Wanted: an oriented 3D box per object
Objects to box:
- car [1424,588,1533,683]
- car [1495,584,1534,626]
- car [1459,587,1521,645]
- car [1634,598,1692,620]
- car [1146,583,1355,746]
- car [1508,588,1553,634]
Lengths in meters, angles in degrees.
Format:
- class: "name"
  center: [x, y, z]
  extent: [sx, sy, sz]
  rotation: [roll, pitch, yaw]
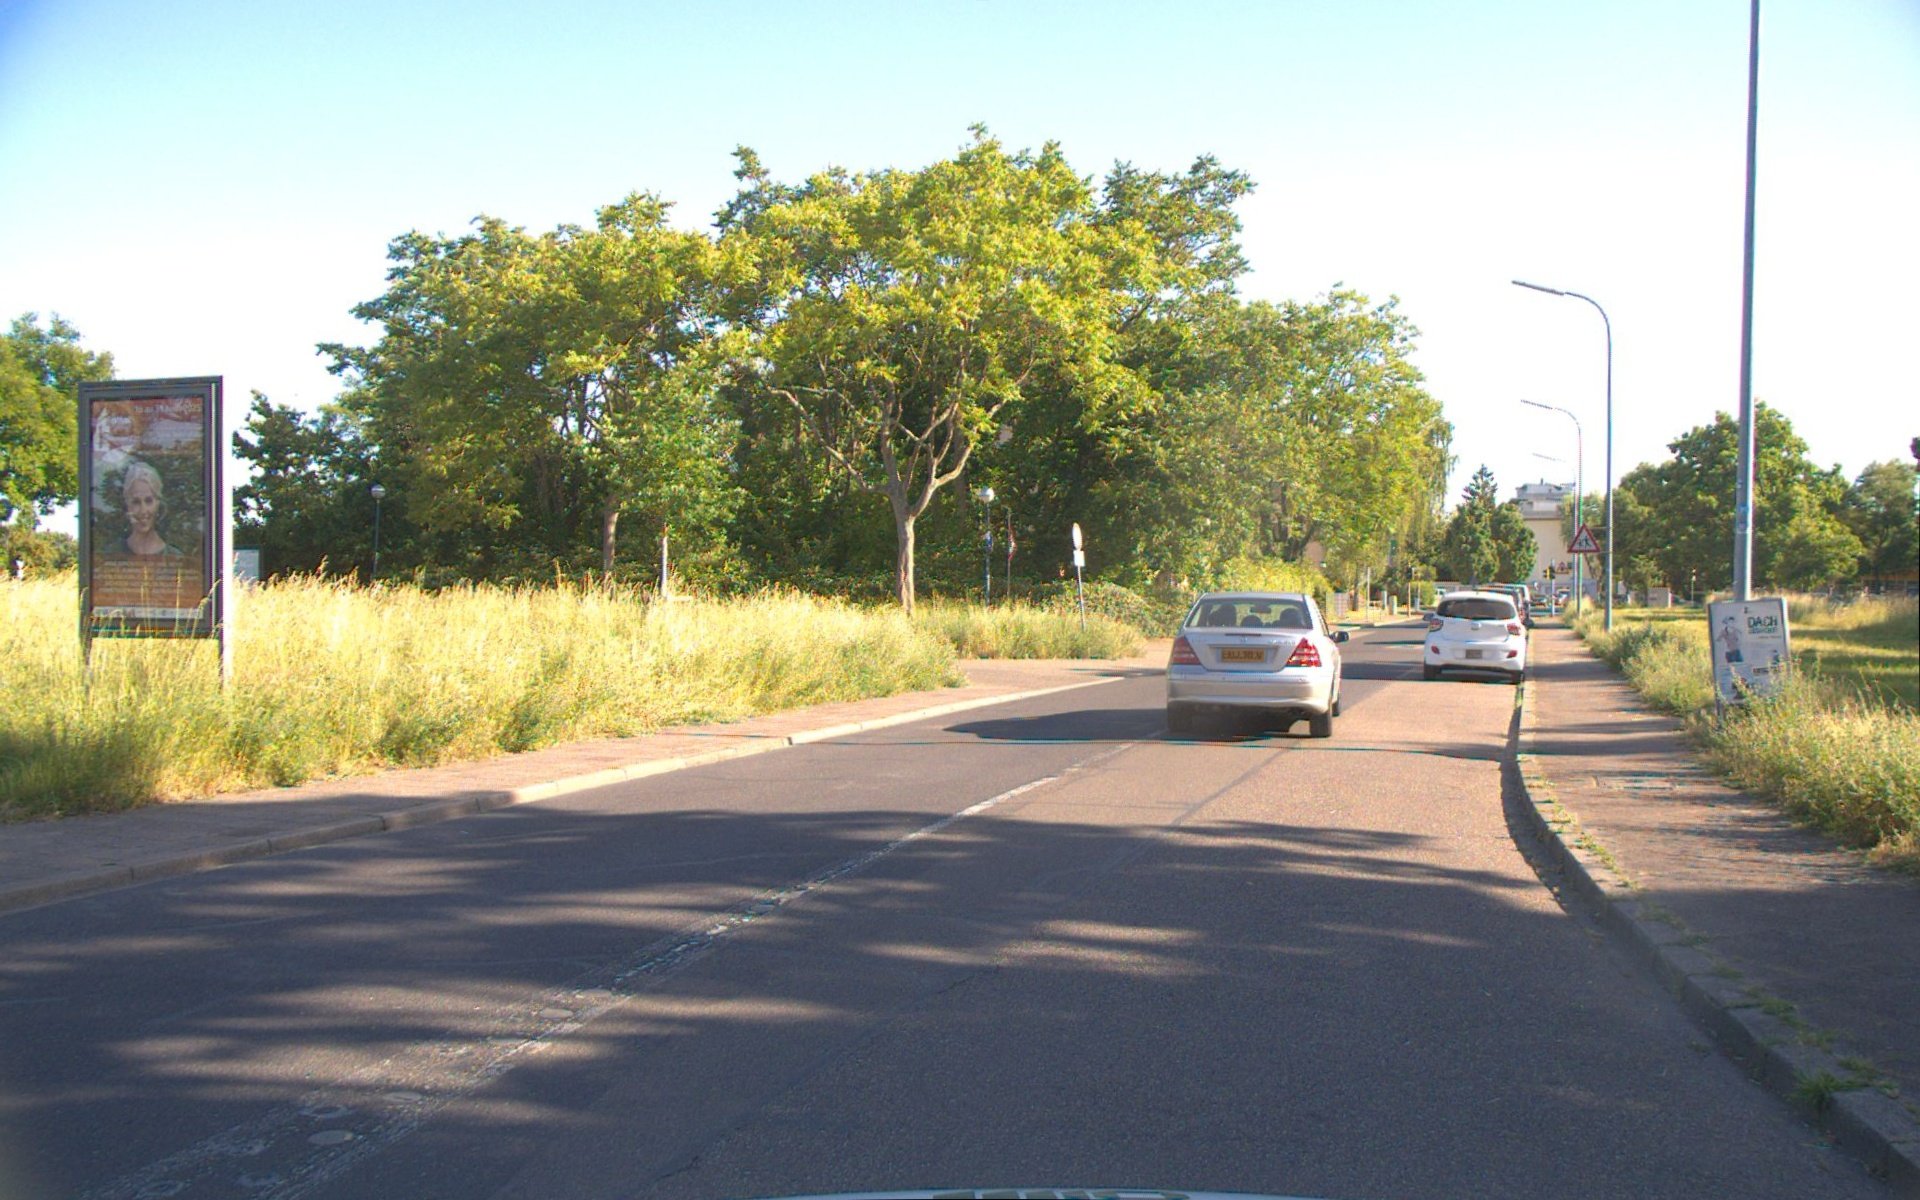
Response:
- class: "car"
  center: [9.089, 0.581, 29.191]
  extent: [1.685, 1.505, 3.743]
  rotation: [2, 0, 16]
- class: "car"
  center: [26.329, 0.200, 78.543]
  extent: [1.663, 1.884, 3.852]
  rotation: [2, 1, 18]
- class: "car"
  center: [15.432, 0.432, 48.213]
  extent: [1.663, 1.639, 4.002]
  rotation: [0, 0, 17]
- class: "car"
  center: [50.784, 0.659, 119.479]
  extent: [3.639, 1.467, 1.694]
  rotation: [0, -2, 35]
- class: "car"
  center: [3.257, 0.603, 17.876]
  extent: [1.778, 1.489, 4.364]
  rotation: [1, 0, 15]
- class: "car"
  center: [23.706, 0.444, 68.832]
  extent: [1.663, 1.790, 3.852]
  rotation: [2, 1, 18]
